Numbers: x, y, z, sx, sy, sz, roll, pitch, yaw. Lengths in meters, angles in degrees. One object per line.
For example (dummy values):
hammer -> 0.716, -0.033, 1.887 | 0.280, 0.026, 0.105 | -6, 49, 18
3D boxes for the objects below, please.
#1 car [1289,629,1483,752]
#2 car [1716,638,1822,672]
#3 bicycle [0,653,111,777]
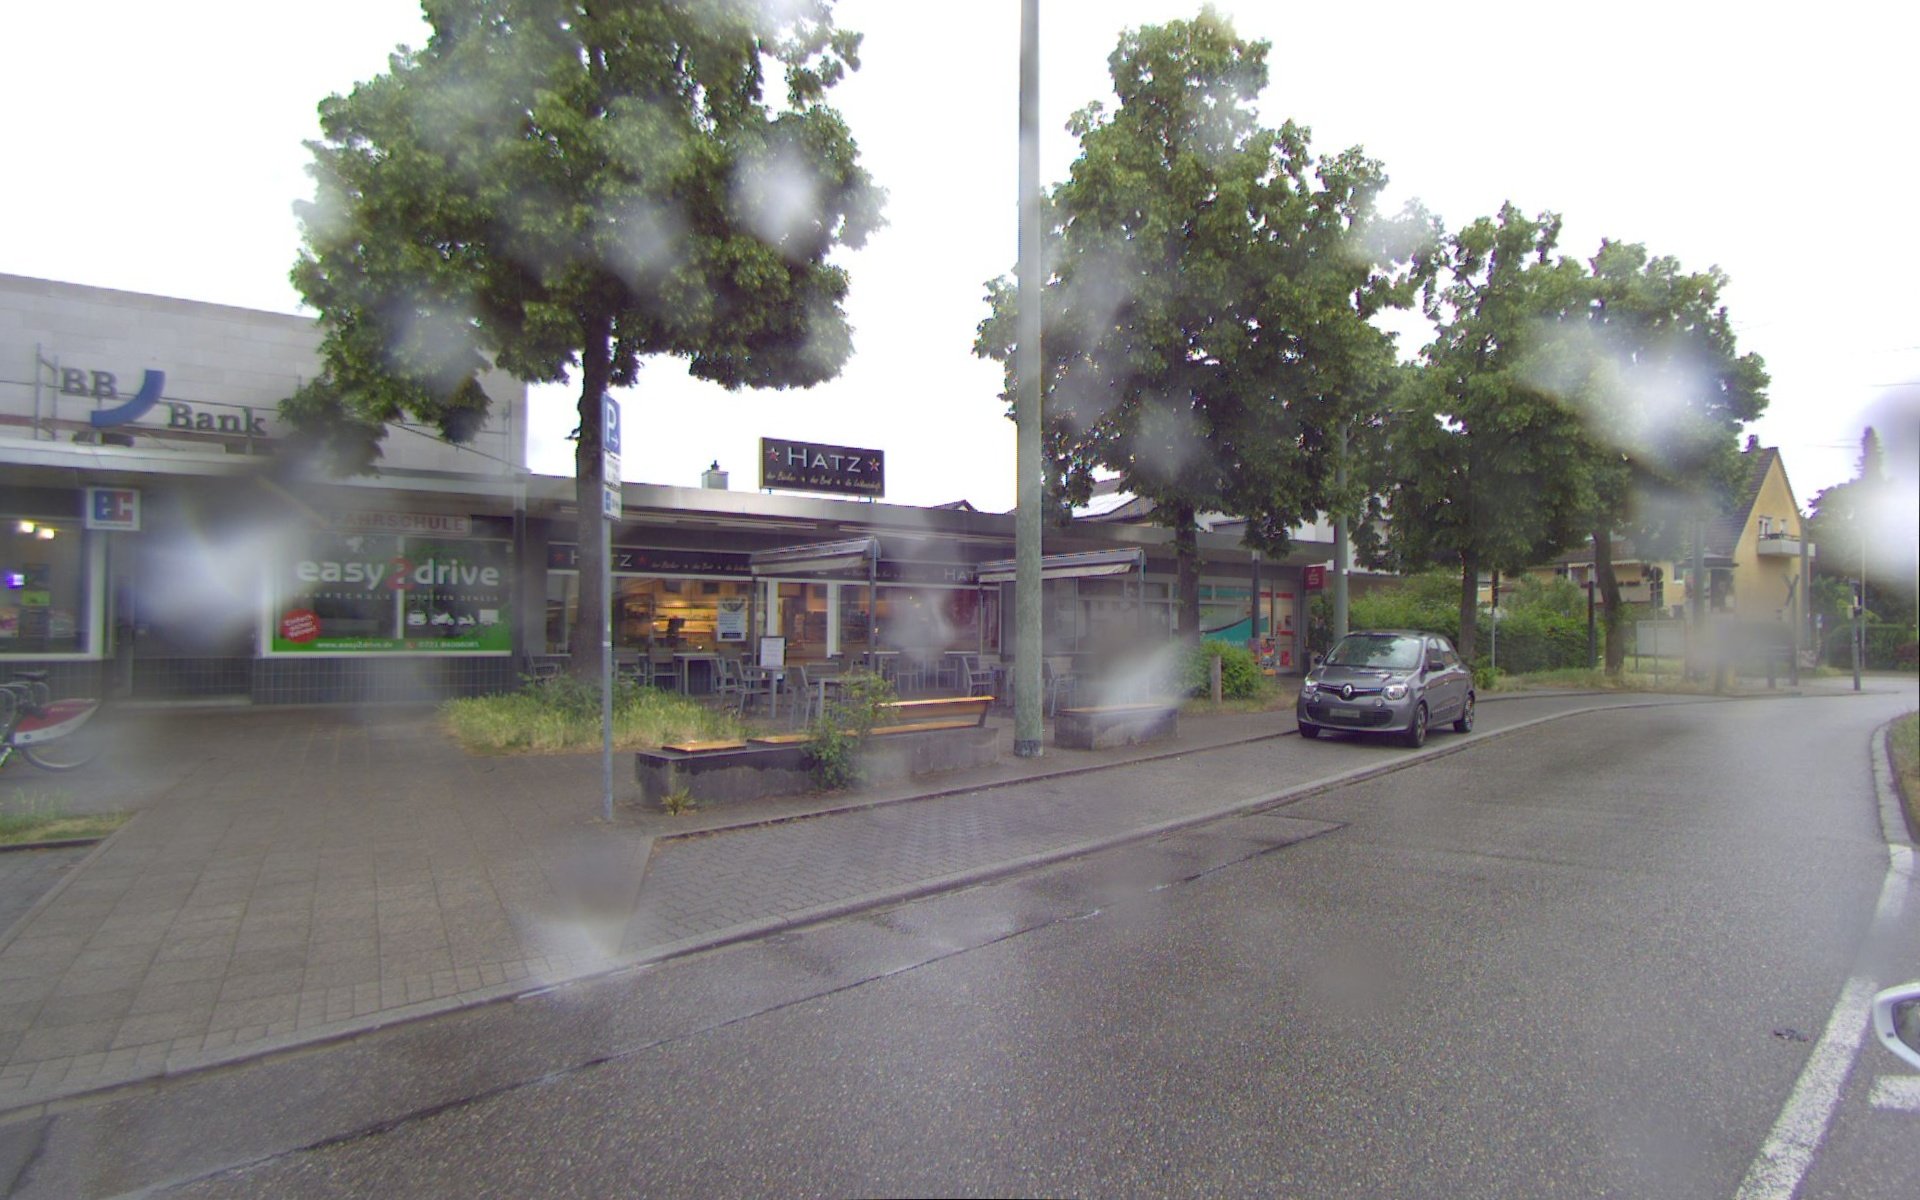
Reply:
car -> 6.381, 1.225, 14.835 | 1.598, 1.516, 3.649 | 2, 0, 40
car -> 41.973, 2.832, 52.183 | 1.815, 1.476, 3.960 | 2, 0, -35
bicycle -> -9.003, 1.066, 9.274 | 0.314, 1.122, 1.739 | 2, 0, 43
